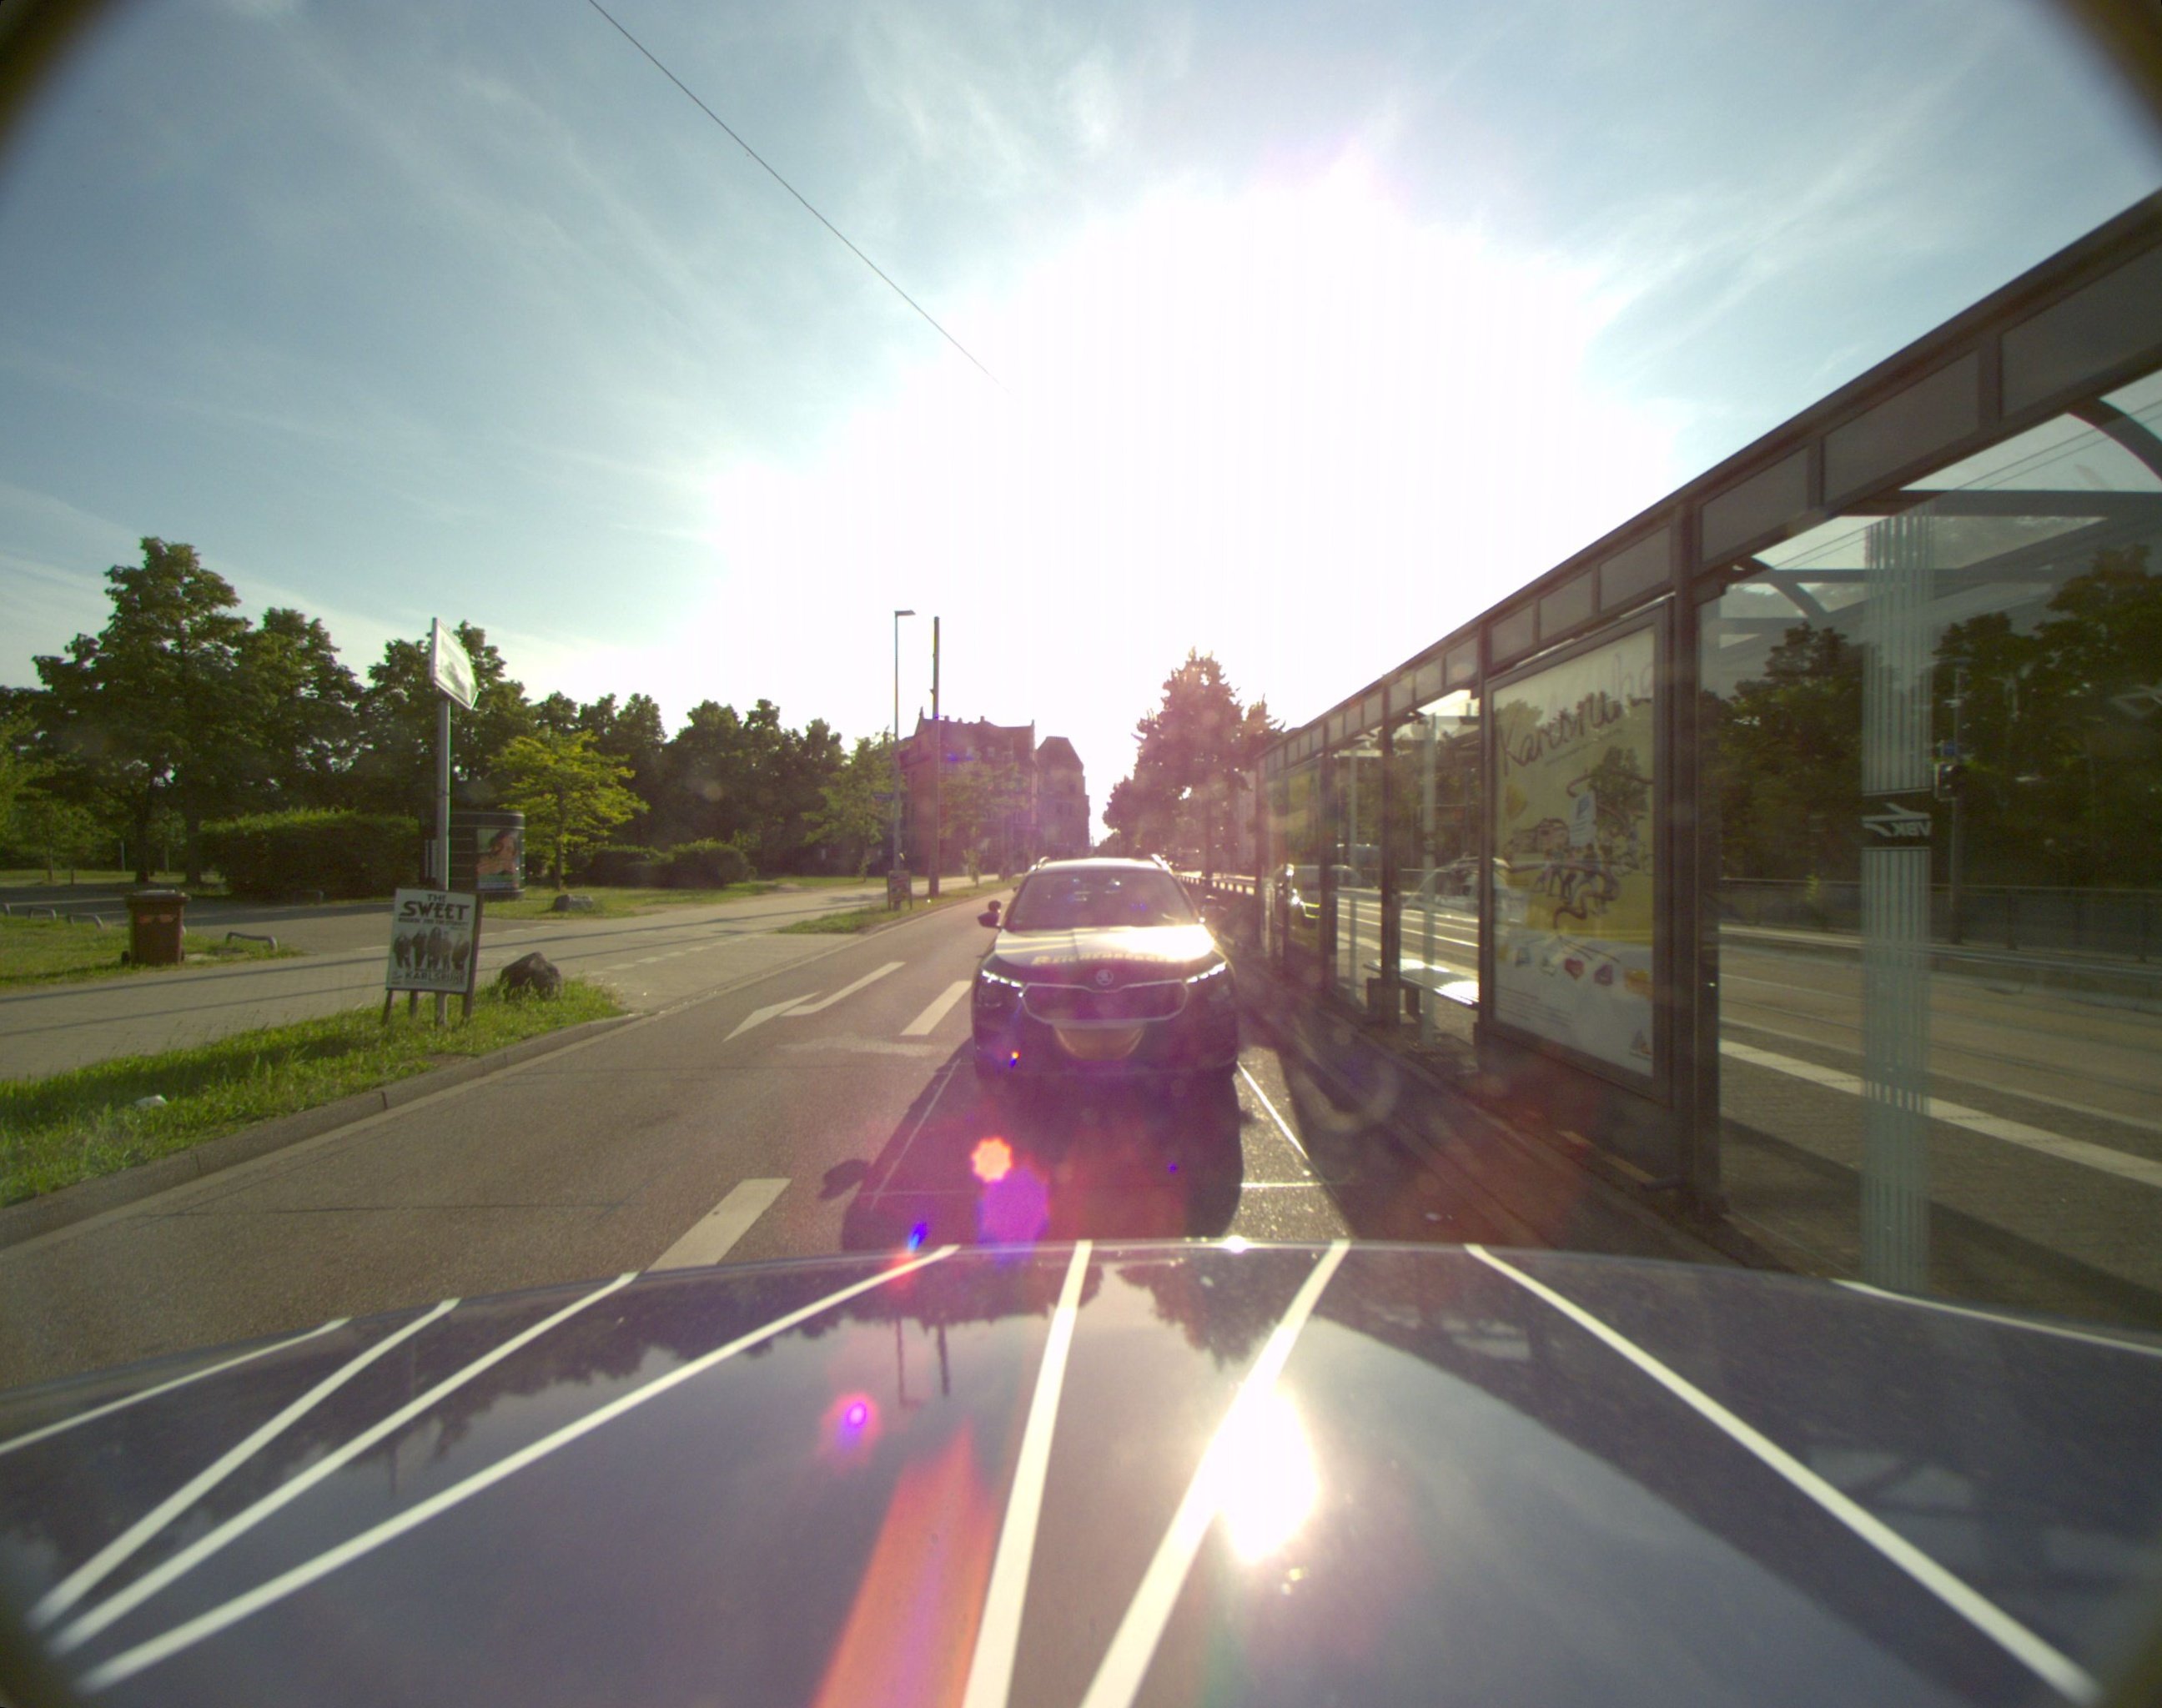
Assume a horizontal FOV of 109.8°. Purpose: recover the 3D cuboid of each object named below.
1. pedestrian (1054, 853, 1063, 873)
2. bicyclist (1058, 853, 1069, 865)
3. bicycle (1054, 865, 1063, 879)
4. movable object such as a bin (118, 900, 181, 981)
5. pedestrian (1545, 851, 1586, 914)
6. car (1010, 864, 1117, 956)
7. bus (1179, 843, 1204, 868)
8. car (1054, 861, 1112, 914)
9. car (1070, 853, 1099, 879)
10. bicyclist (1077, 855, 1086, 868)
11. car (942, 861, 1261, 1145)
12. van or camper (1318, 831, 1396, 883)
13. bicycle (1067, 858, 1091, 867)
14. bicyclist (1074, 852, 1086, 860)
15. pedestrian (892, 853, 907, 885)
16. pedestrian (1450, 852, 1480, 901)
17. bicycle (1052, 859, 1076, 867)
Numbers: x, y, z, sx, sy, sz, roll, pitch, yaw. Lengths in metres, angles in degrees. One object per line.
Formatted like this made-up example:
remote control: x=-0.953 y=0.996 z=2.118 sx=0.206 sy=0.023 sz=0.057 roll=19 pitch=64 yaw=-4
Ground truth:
pedestrian: x=-1.801 y=0.720 z=61.484 sx=0.637 sy=1.512 sz=0.844 roll=-2 pitch=1 yaw=-3
bicyclist: x=-2.186 y=0.620 z=95.571 sx=1.402 sy=1.538 sz=0.888 roll=0 pitch=0 yaw=-1
bicycle: x=-1.806 y=1.422 z=61.549 sx=0.652 sy=1.040 sz=1.980 roll=-2 pitch=1 yaw=-3
movable object such as a bin: x=-11.414 y=1.042 z=9.323 sx=0.603 sy=0.912 sz=0.457 roll=1 pitch=1 yaw=42
pedestrian: x=13.227 y=0.769 z=20.774 sx=0.621 sy=1.675 sz=0.618 roll=3 pitch=1 yaw=1
car: x=-0.261 y=0.963 z=14.843 sx=1.756 sy=1.451 sz=4.235 roll=-1 pitch=0 yaw=1
bus: x=16.175 y=0.146 z=111.835 sx=2.437 sy=3.415 sz=9.261 roll=-2 pitch=1 yaw=1
car: x=0.105 y=1.052 z=25.443 sx=1.756 sy=1.534 sz=4.235 roll=-1 pitch=0 yaw=1
car: x=0.272 y=0.758 z=49.515 sx=1.756 sy=1.534 sz=4.235 roll=-1 pitch=0 yaw=1
bicyclist: x=0.048 y=0.839 z=82.596 sx=0.688 sy=1.445 sz=1.112 roll=0 pitch=0 yaw=12
car: x=0.148 y=0.859 z=6.391 sx=1.756 sy=1.534 sz=4.235 roll=-1 pitch=0 yaw=1
van or camper: x=16.937 y=0.134 z=47.038 sx=2.527 sy=2.951 sz=6.411 roll=-2 pitch=1 yaw=1
bicycle: x=-0.246 y=1.027 z=92.580 sx=2.962 sy=0.974 sz=0.879 roll=0 pitch=0 yaw=-2
bicyclist: x=-0.118 y=0.252 z=92.573 sx=1.402 sy=1.000 sz=0.888 roll=0 pitch=0 yaw=-1
pedestrian: x=-9.660 y=0.817 z=40.450 sx=0.621 sy=1.675 sz=0.618 roll=-2 pitch=0 yaw=1
pedestrian: x=13.560 y=0.774 z=26.851 sx=0.621 sy=1.675 sz=0.618 roll=3 pitch=1 yaw=1
bicycle: x=-2.154 y=1.075 z=95.572 sx=2.962 sy=0.974 sz=0.879 roll=0 pitch=0 yaw=-2
